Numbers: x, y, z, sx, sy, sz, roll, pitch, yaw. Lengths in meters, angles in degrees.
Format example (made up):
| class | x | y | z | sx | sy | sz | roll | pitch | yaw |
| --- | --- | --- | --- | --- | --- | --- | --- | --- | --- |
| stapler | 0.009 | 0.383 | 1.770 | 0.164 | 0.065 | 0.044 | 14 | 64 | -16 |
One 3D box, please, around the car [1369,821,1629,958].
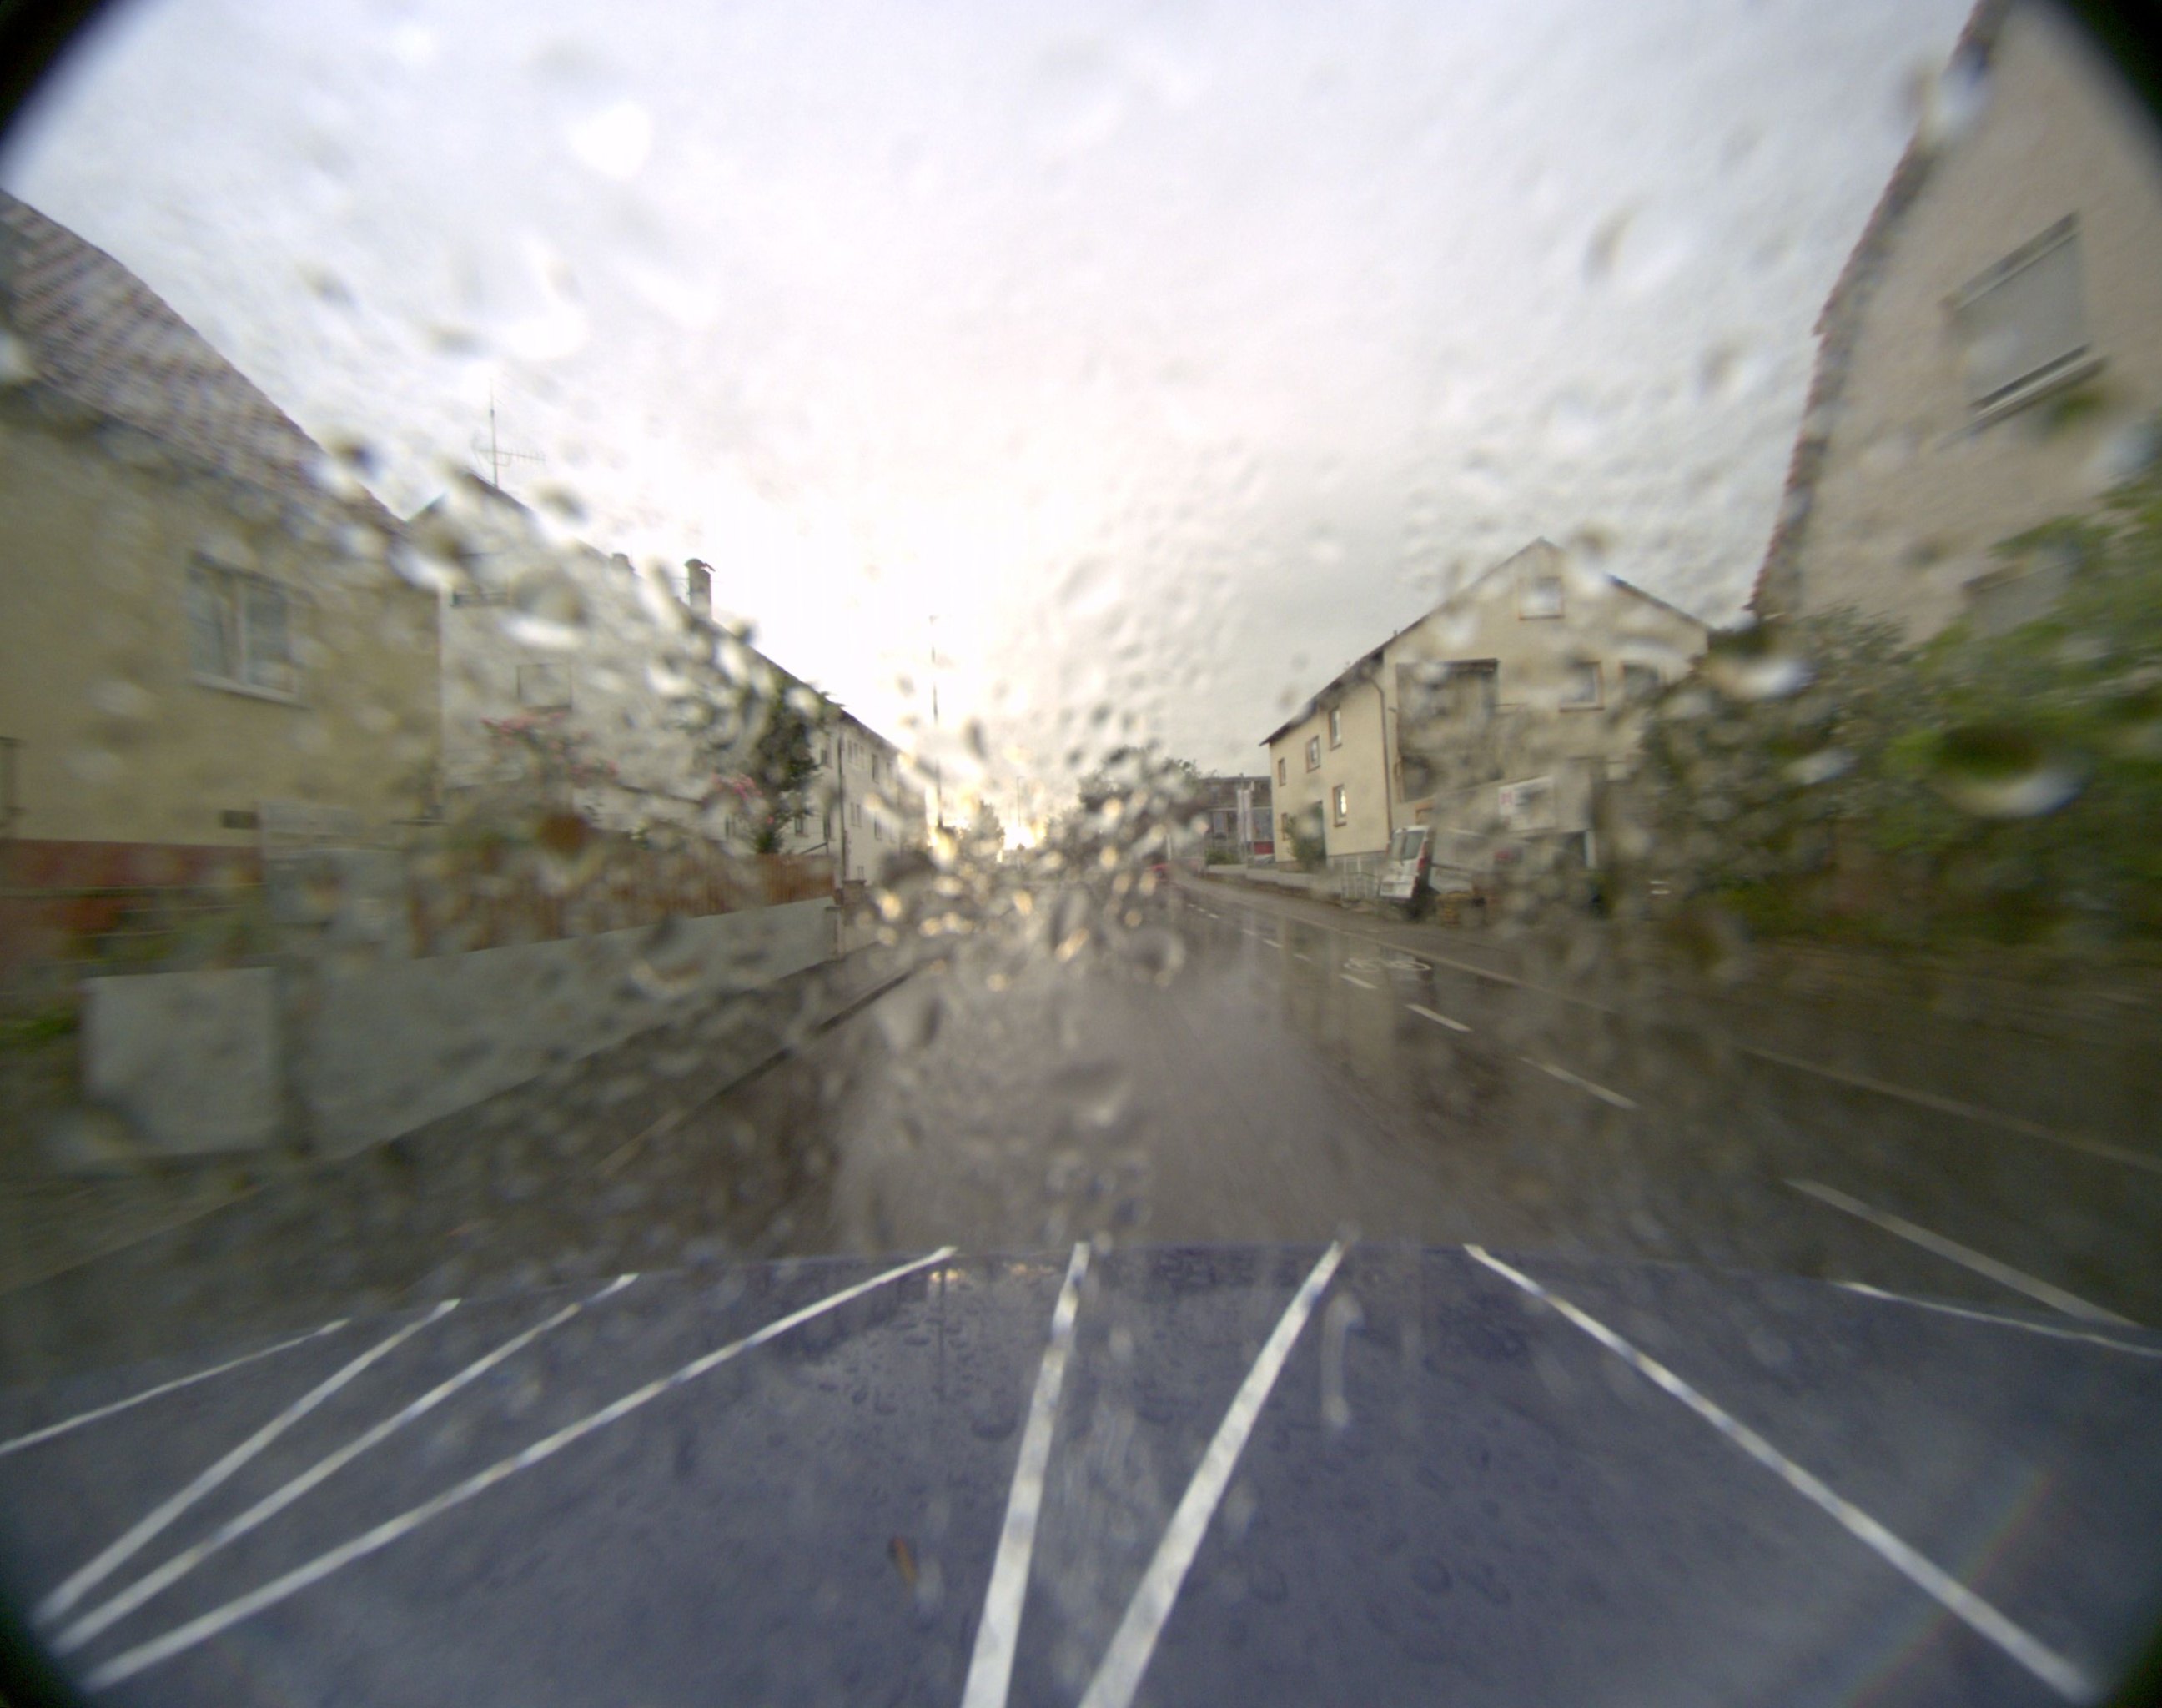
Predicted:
| class | x | y | z | sx | sy | sz | roll | pitch | yaw |
| --- | --- | --- | --- | --- | --- | --- | --- | --- | --- |
| car | 8.342 | 0.686 | 15.417 | 3.998 | 1.964 | 1.873 | 10 | 0 | -2 |
